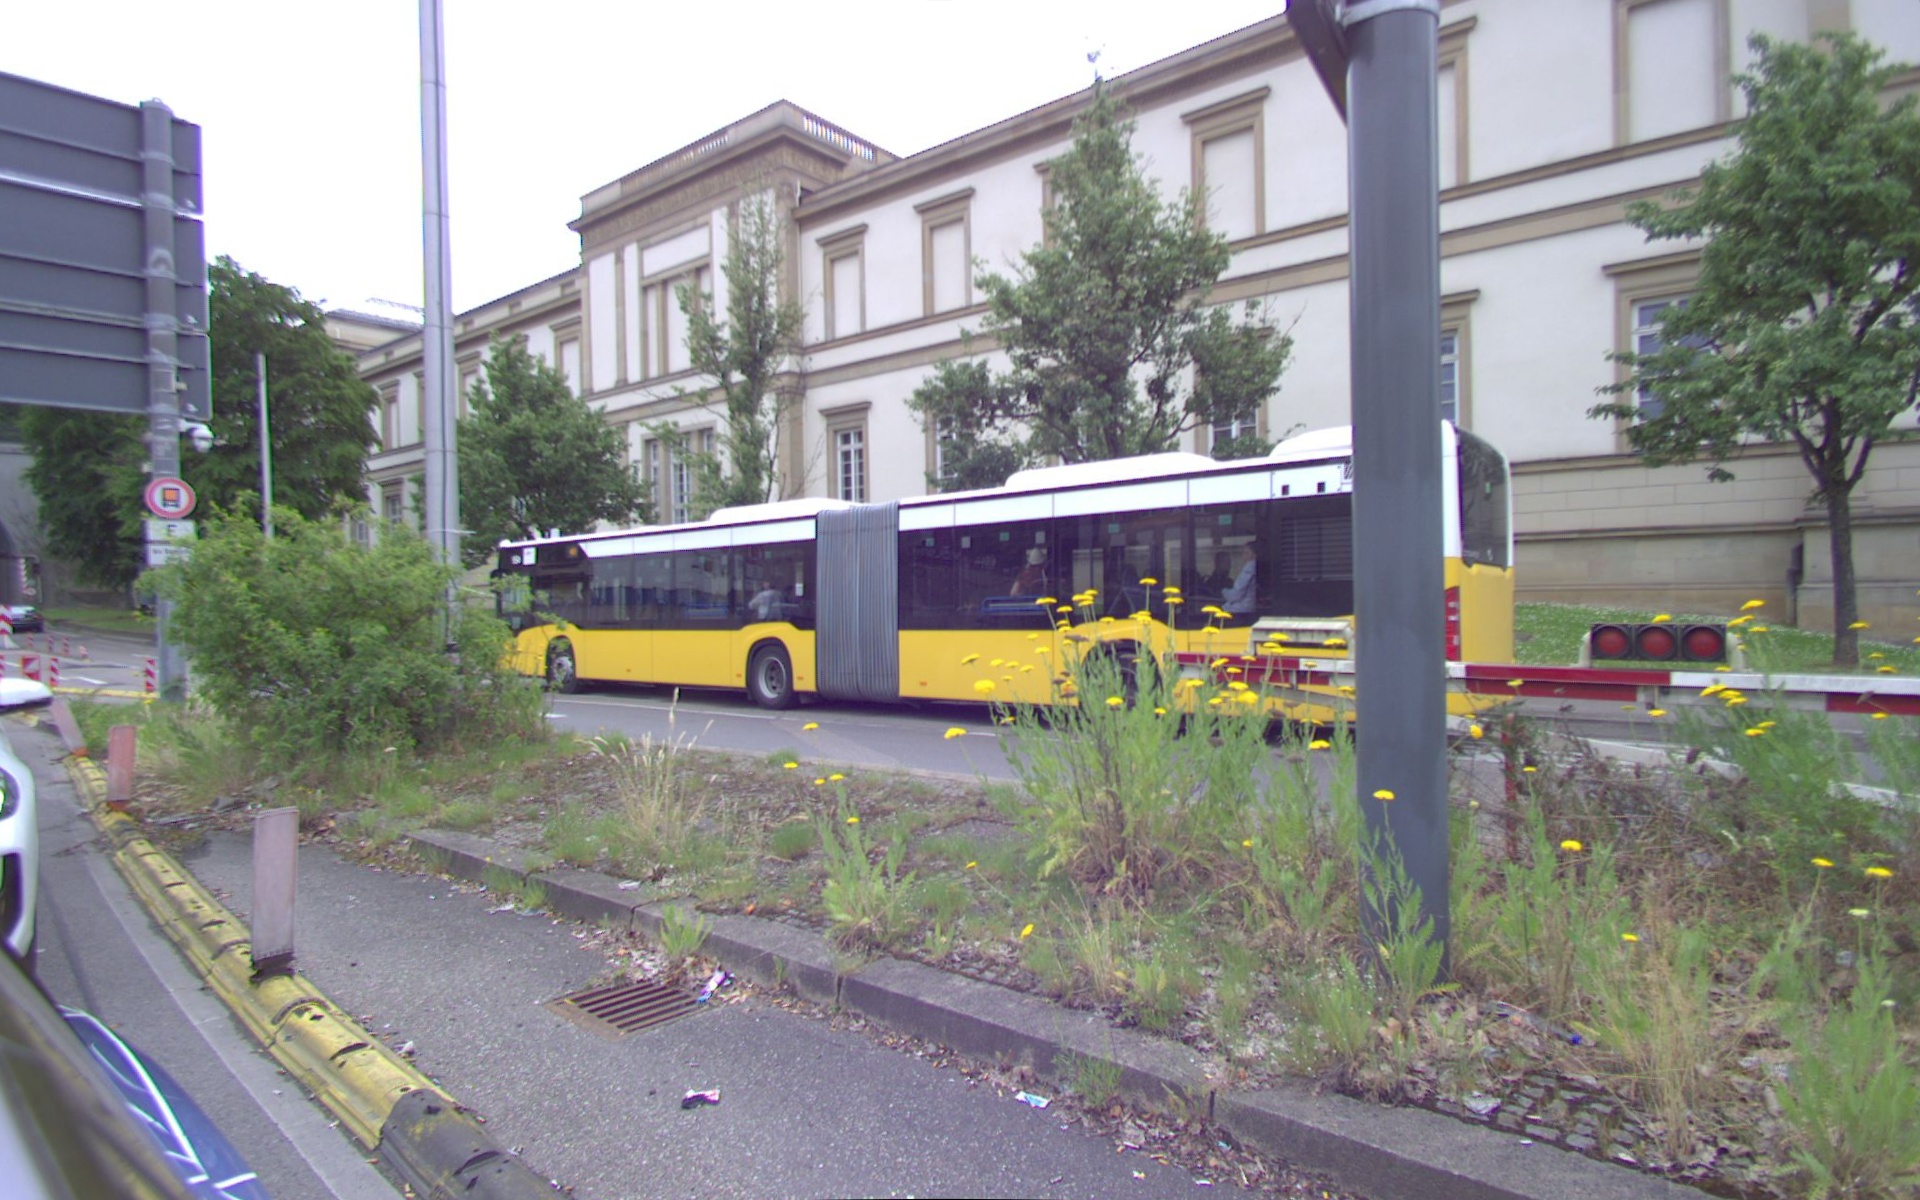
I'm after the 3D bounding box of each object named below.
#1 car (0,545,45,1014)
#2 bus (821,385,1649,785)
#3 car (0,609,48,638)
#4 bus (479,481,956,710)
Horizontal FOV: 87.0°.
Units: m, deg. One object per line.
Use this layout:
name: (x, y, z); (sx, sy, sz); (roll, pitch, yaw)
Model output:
car: (-5.264, 0.668, 4.176); (3.881, 1.603, 1.824); (-2, 0, 42)
bus: (2.483, -0.058, 11.994); (9.116, 3.137, 2.816); (-1, 0, 41)
car: (-51.594, 1.269, 55.471); (4.625, 1.482, 1.684); (-1, 0, 40)
bus: (-4.772, 0.004, 18.014); (9.736, 3.137, 2.818); (-1, 0, 38)
